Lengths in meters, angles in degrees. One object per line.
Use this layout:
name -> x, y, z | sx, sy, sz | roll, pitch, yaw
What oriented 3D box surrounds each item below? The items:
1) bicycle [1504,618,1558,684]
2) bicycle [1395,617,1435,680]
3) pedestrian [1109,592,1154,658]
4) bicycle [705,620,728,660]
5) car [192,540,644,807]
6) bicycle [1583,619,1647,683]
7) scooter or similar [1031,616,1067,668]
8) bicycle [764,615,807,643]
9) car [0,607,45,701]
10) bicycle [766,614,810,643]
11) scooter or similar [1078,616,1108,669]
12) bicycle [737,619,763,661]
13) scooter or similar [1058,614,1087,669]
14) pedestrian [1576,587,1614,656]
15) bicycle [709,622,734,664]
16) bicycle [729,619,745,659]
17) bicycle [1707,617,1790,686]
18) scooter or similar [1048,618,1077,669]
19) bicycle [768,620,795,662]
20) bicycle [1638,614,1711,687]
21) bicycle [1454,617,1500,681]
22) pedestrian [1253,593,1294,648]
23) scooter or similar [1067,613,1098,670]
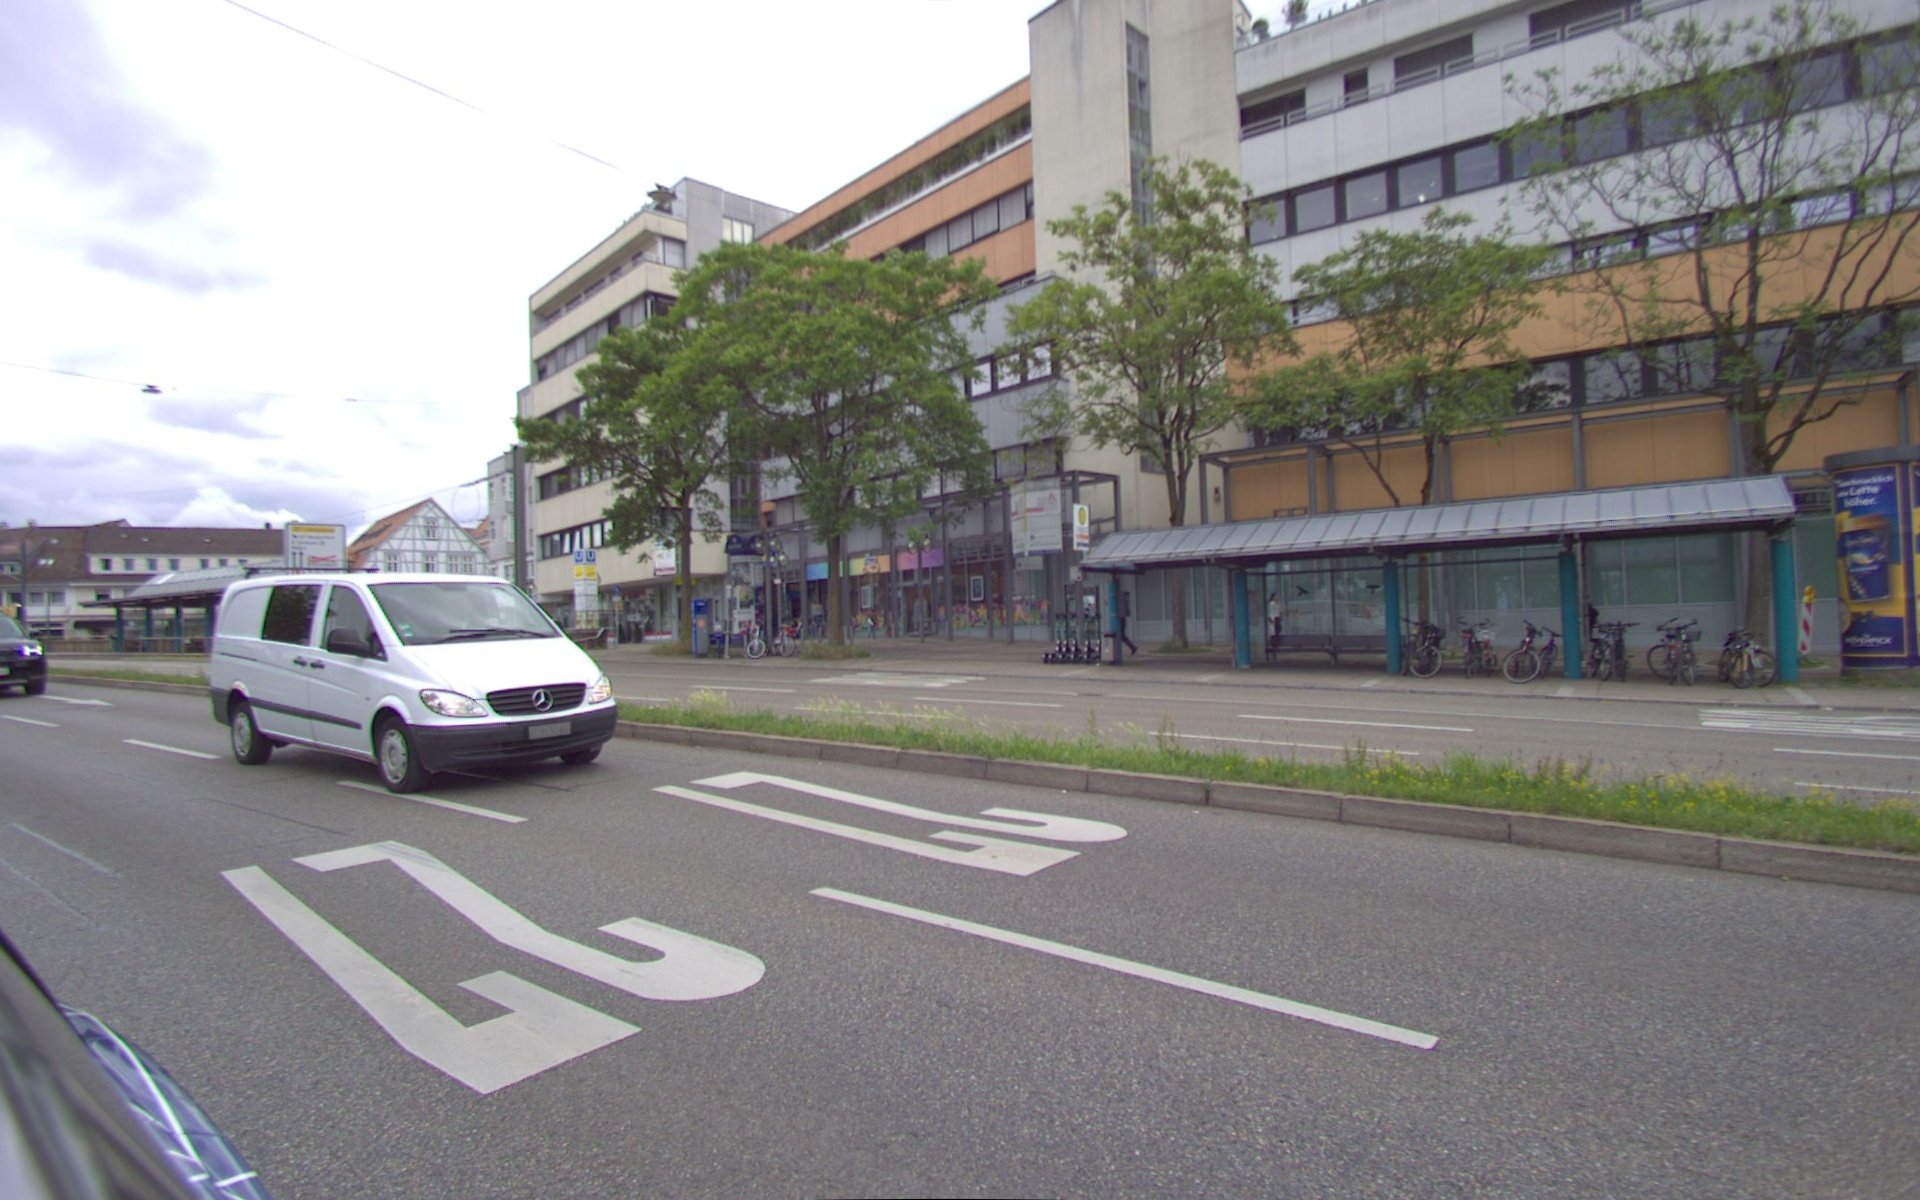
bicycle -> 11.229, 0.976, 19.957 | 0.707, 1.162, 2.055 | -1, 0, 24
bicycle -> 9.610, 0.996, 21.384 | 0.707, 1.162, 2.055 | -2, 1, 24
pedestrian -> 4.808, 0.704, 28.357 | 0.995, 1.795, 0.726 | -2, -2, 36
bicycle -> -8.022, 1.310, 33.301 | 0.616, 1.263, 1.688 | 0, -1, -16
car -> -5.484, 0.602, 9.939 | 5.065, 2.029, 1.857 | -2, 0, 36
bicycle -> 12.584, 0.950, 19.492 | 0.707, 1.162, 2.054 | -1, -1, 24
scooter or similar -> 2.324, 1.087, 26.397 | 0.338, 1.279, 1.311 | -2, 0, 33
bicycle -> -8.449, 1.379, 48.975 | 1.941, 1.329, 0.707 | 0, -2, -34
car -> -20.163, 1.083, 20.322 | 4.672, 1.764, 1.904 | -2, 0, 39
bicycle -> -8.152, 1.326, 47.965 | 1.941, 1.329, 0.707 | 0, -2, -34
scooter or similar -> 3.403, 1.075, 25.859 | 0.259, 1.330, 1.192 | -2, -2, 33
bicycle -> -6.600, 1.249, 31.730 | 0.616, 1.263, 1.689 | 0, -1, -17
scooter or similar -> 2.903, 1.055, 26.129 | 0.221, 1.395, 1.192 | -2, -2, 32
pedestrian -> 15.520, 0.525, 24.740 | 0.675, 1.656, 0.526 | -2, -2, 41
bicycle -> -7.337, 1.308, 31.055 | 0.616, 1.263, 1.689 | 0, -1, -17
bicycle -> -7.269, 1.259, 32.957 | 0.425, 1.263, 1.474 | -1, -1, -15
bicycle -> 14.347, 0.905, 18.474 | 0.707, 1.162, 2.055 | -1, -1, 24
scooter or similar -> 2.653, 1.120, 26.243 | 0.267, 1.305, 1.119 | -2, -2, 32
bicycle -> -5.642, 1.277, 32.010 | 0.616, 1.263, 1.689 | 0, -1, -17
bicycle -> 13.361, 0.918, 18.973 | 0.707, 1.162, 2.055 | -1, 2, 24
bicycle -> 10.656, 0.981, 20.900 | 0.707, 1.162, 2.055 | -1, 1, 24
pedestrian -> 9.533, 0.623, 30.748 | 0.995, 1.630, 0.726 | -2, -2, 36
scooter or similar -> 3.156, 1.060, 26.026 | 0.259, 1.434, 1.192 | -2, -2, 33
